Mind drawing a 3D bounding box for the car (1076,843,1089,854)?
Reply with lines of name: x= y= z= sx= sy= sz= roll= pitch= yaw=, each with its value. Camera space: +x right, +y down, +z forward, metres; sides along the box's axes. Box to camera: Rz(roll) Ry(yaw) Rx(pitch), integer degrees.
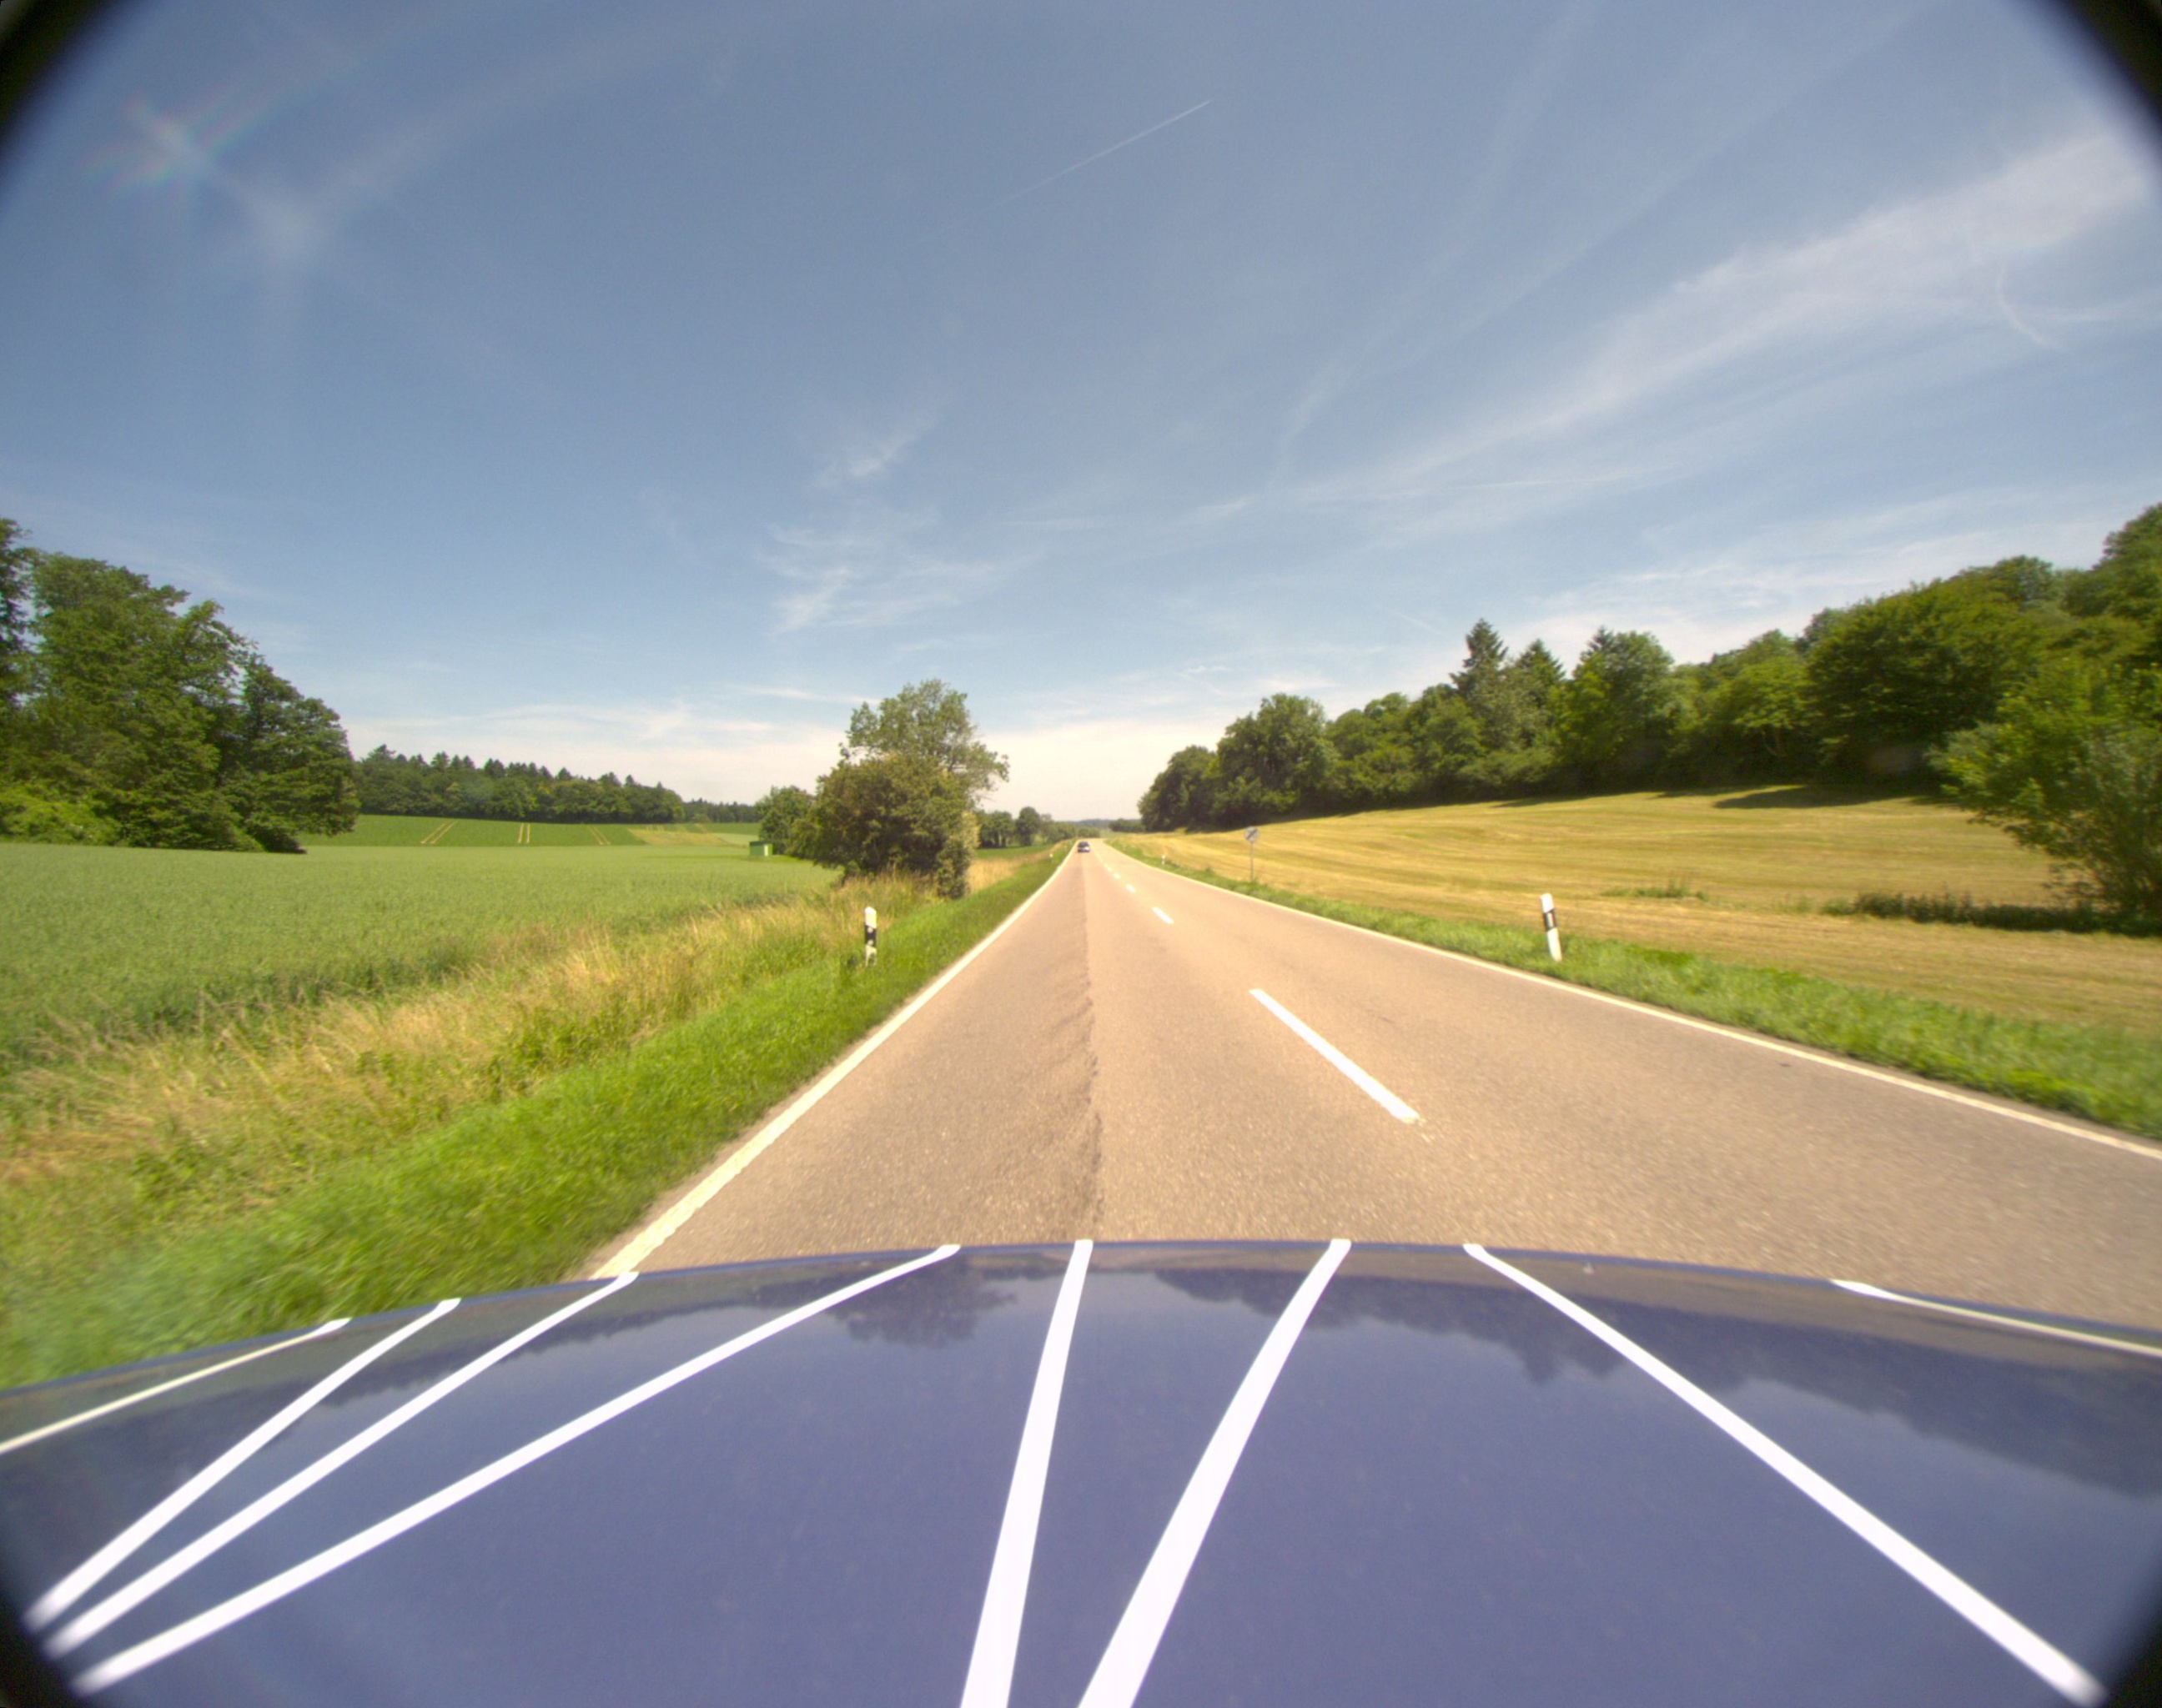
car: x=0.243 y=-0.828 z=114.487 sx=1.815 sy=1.569 sz=4.155 roll=-2 pitch=-1 yaw=1
